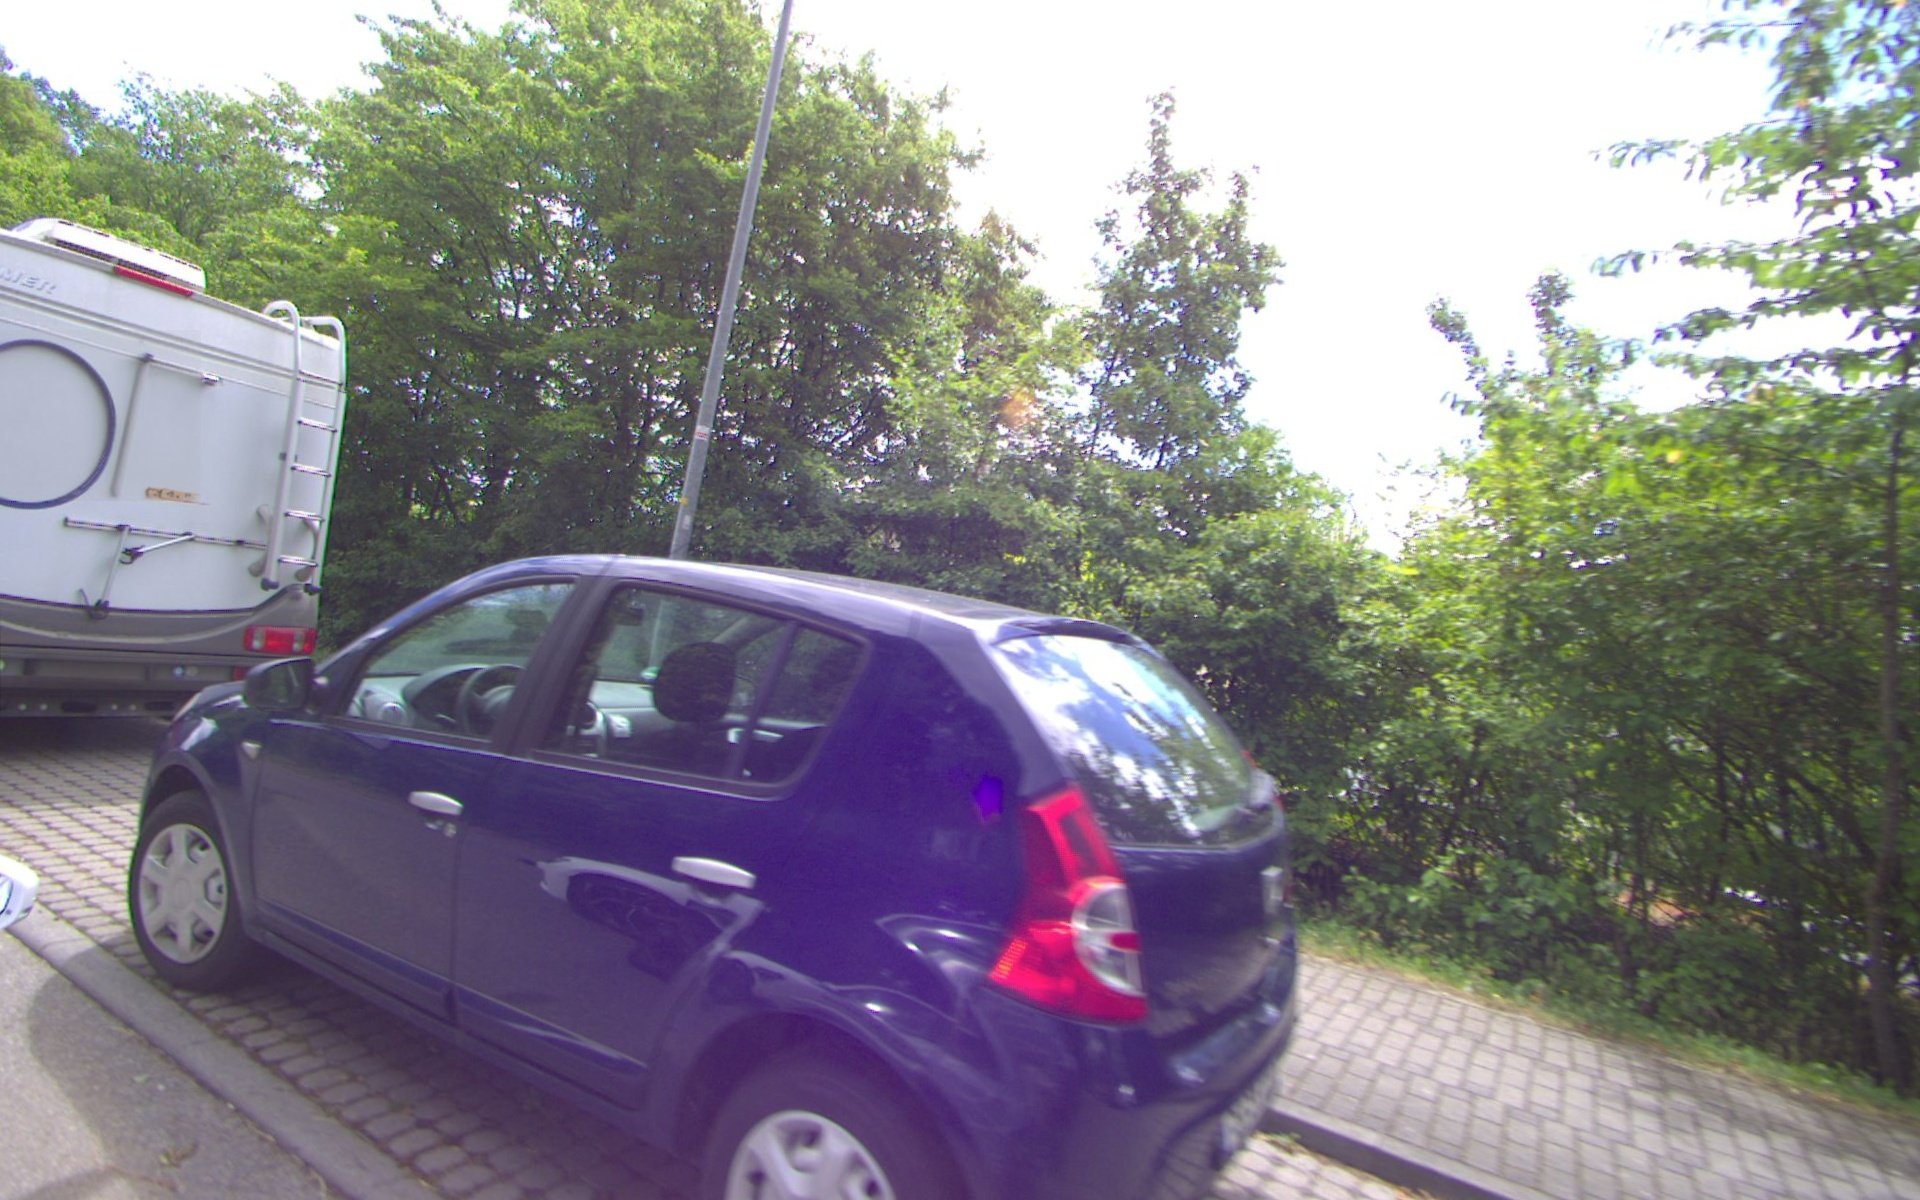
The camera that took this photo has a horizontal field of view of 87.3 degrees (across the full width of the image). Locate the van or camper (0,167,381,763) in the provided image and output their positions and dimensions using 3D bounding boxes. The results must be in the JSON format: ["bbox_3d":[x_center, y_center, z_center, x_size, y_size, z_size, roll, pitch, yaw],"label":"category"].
[{"bbox_3d":[-7.110,-0.913,6.935,6.045,2.901,2.339,8,-2,29],"label":"van or camper"}]

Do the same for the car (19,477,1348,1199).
[{"bbox_3d":[-0.992,0.599,3.183,3.823,1.537,1.732,6,-1,29],"label":"car"}]
